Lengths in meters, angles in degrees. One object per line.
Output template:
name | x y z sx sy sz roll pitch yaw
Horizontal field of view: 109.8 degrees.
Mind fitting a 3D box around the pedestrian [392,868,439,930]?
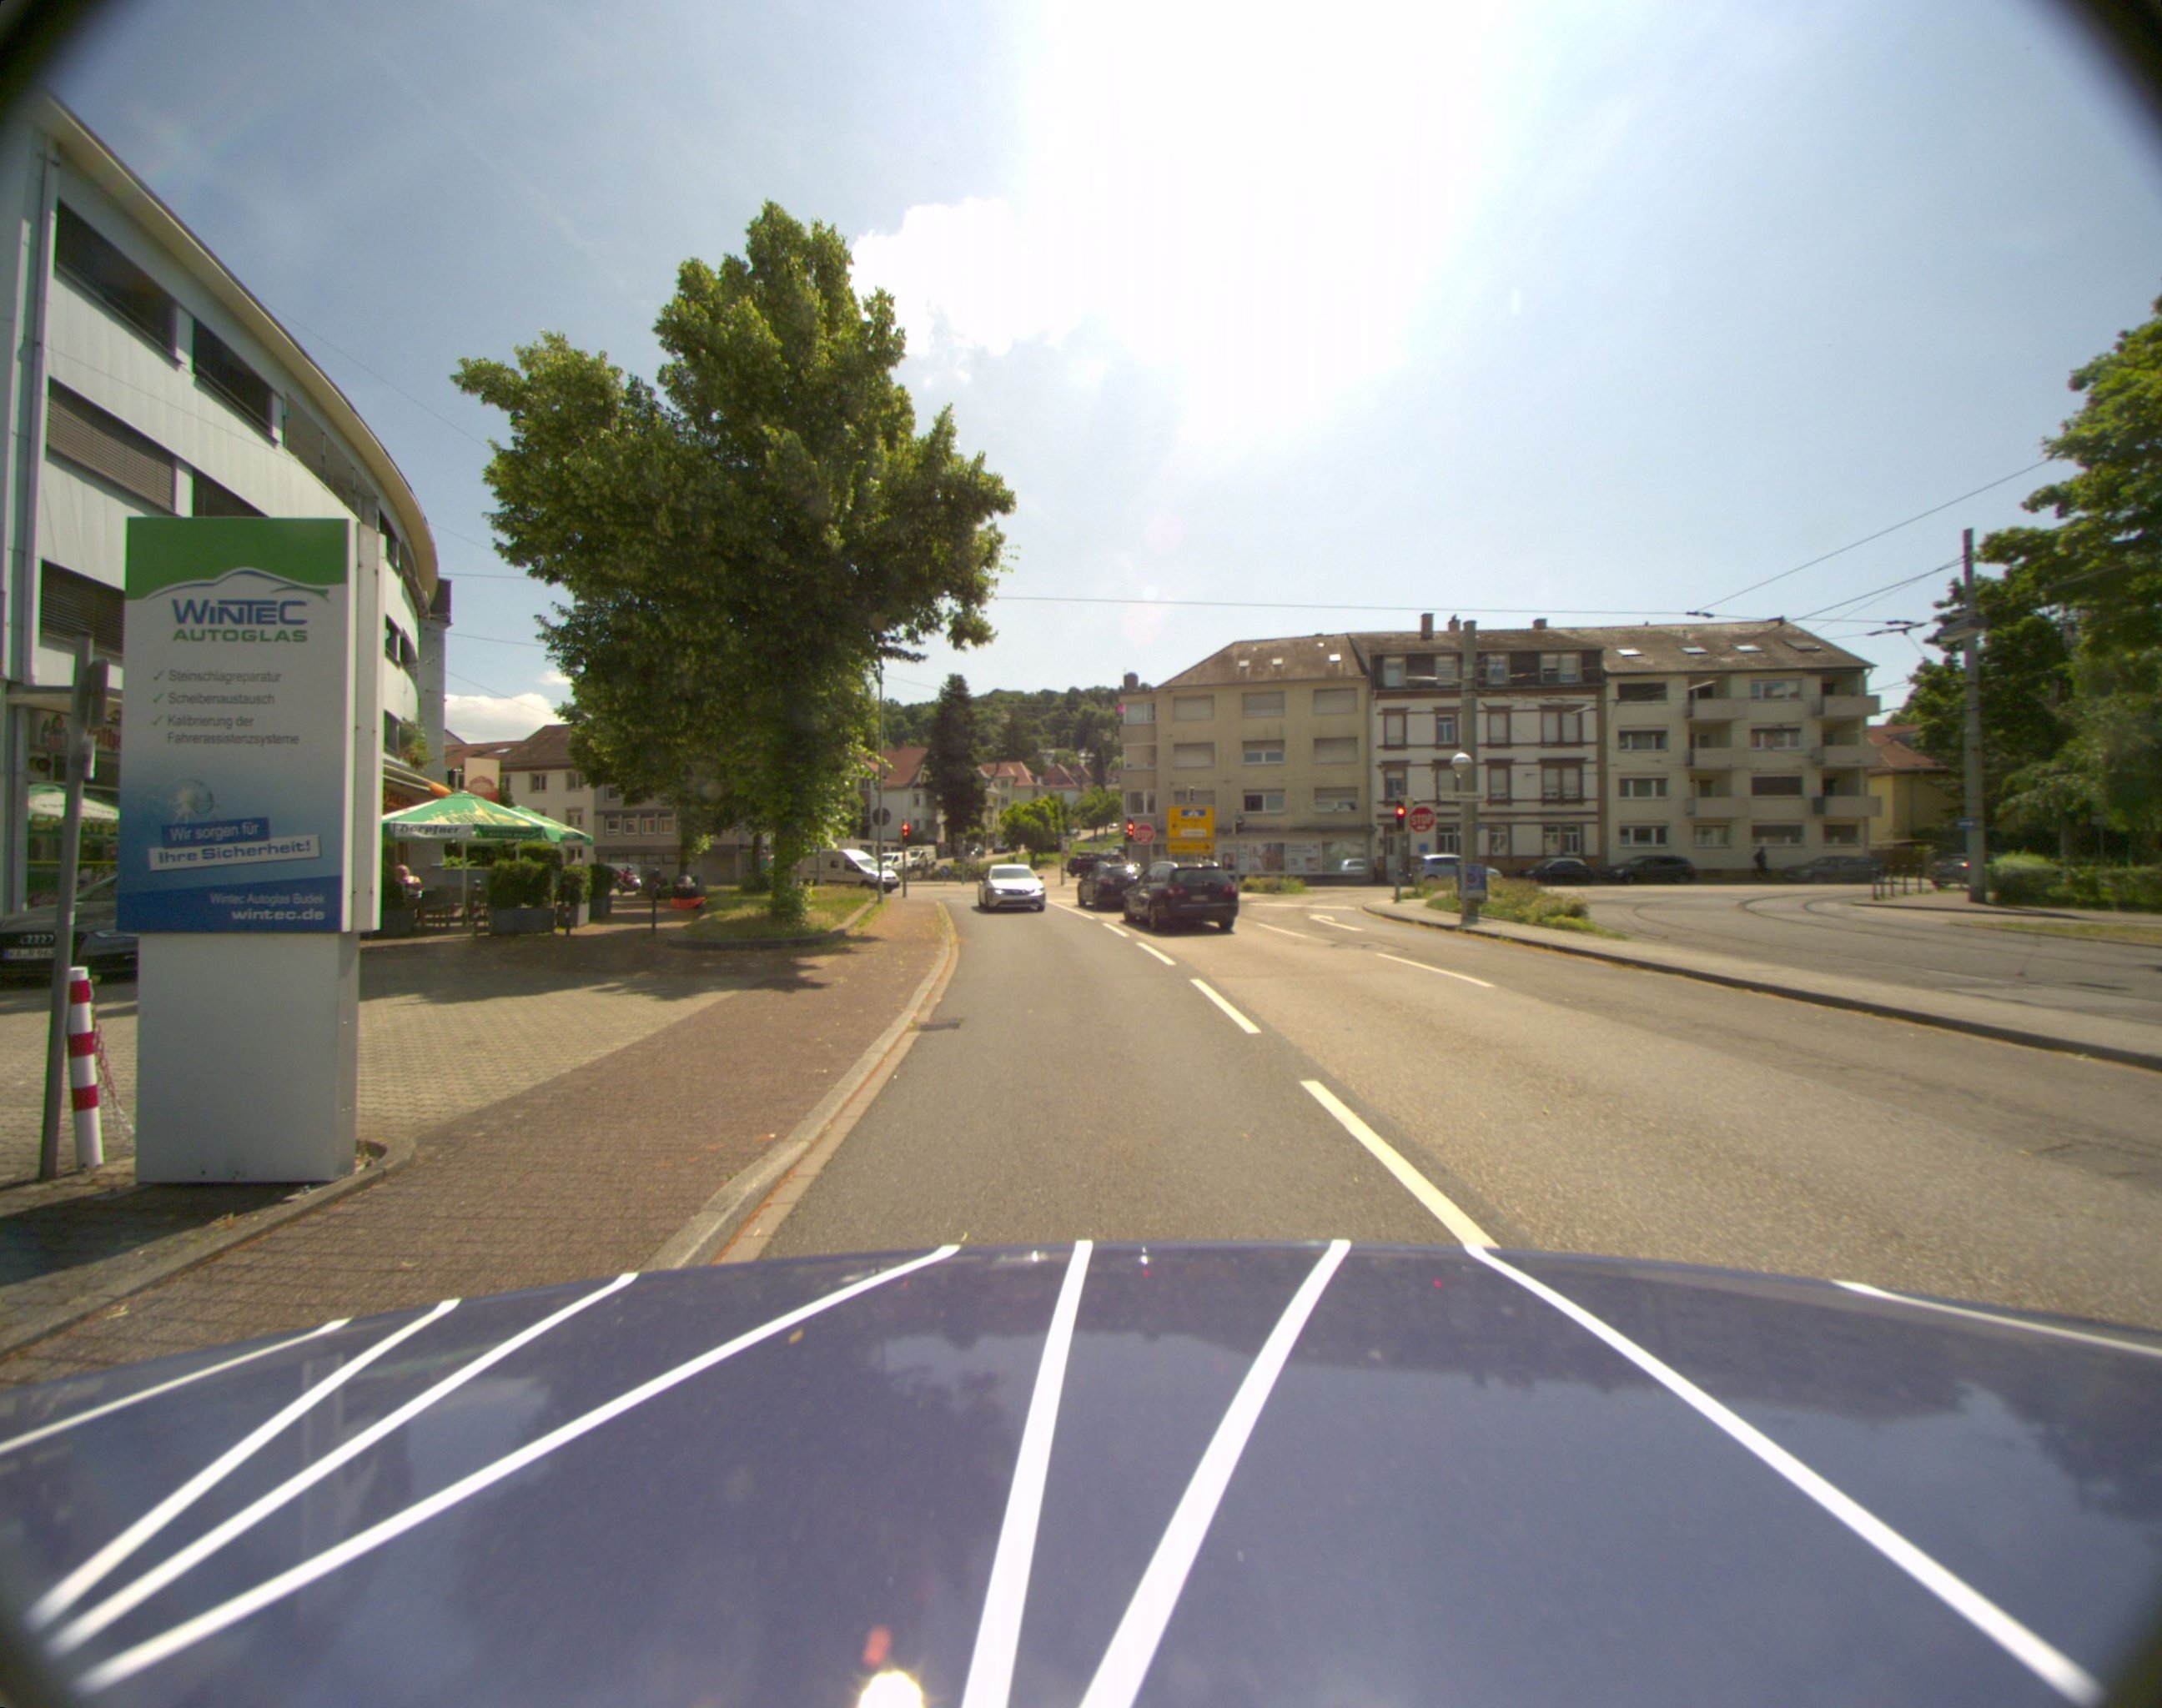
pedestrian | -14.270 0.959 16.295 0.605 1.263 0.577 -2 1 35

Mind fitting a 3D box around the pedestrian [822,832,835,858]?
pedestrian | -19.887 -0.741 59.952 0.625 2.002 0.706 -2 1 10

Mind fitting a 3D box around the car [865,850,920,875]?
car | -16.501 0.728 66.769 2.398 2.002 5.386 -2 1 13

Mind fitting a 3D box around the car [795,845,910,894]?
car | -11.535 0.788 38.296 5.432 2.258 2.003 -2 1 24

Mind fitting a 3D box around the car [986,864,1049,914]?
car | -2.056 1.063 24.604 1.819 1.371 4.390 -1 0 -5

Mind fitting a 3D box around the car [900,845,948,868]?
car | -15.108 0.177 73.286 2.398 2.002 5.386 -2 1 13

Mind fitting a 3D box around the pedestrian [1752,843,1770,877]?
pedestrian | 37.826 0.335 42.253 0.556 1.846 0.428 -2 1 5

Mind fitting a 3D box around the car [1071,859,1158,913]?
car | 0.980 0.947 24.512 1.842 1.482 4.123 -2 1 -11

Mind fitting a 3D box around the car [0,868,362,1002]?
car | -12.347 0.940 10.519 1.714 1.391 4.277 -1 0 -17

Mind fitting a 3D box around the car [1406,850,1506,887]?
car | 18.133 0.676 36.906 3.994 1.608 1.761 -2 1 10

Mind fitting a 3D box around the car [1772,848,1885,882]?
car | 39.607 0.579 40.339 4.066 1.576 1.815 -2 1 5

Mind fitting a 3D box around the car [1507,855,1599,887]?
car | 25.820 0.900 41.685 3.754 1.576 2.000 -2 1 5

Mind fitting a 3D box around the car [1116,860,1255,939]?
car | 2.190 0.918 17.444 1.842 1.482 4.808 -1 0 -9

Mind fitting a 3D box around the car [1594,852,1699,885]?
car | 30.511 0.779 41.097 4.066 1.576 2.000 -2 1 5

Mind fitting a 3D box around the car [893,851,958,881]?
car | -11.876 0.895 58.637 2.398 2.002 6.379 -2 1 13
